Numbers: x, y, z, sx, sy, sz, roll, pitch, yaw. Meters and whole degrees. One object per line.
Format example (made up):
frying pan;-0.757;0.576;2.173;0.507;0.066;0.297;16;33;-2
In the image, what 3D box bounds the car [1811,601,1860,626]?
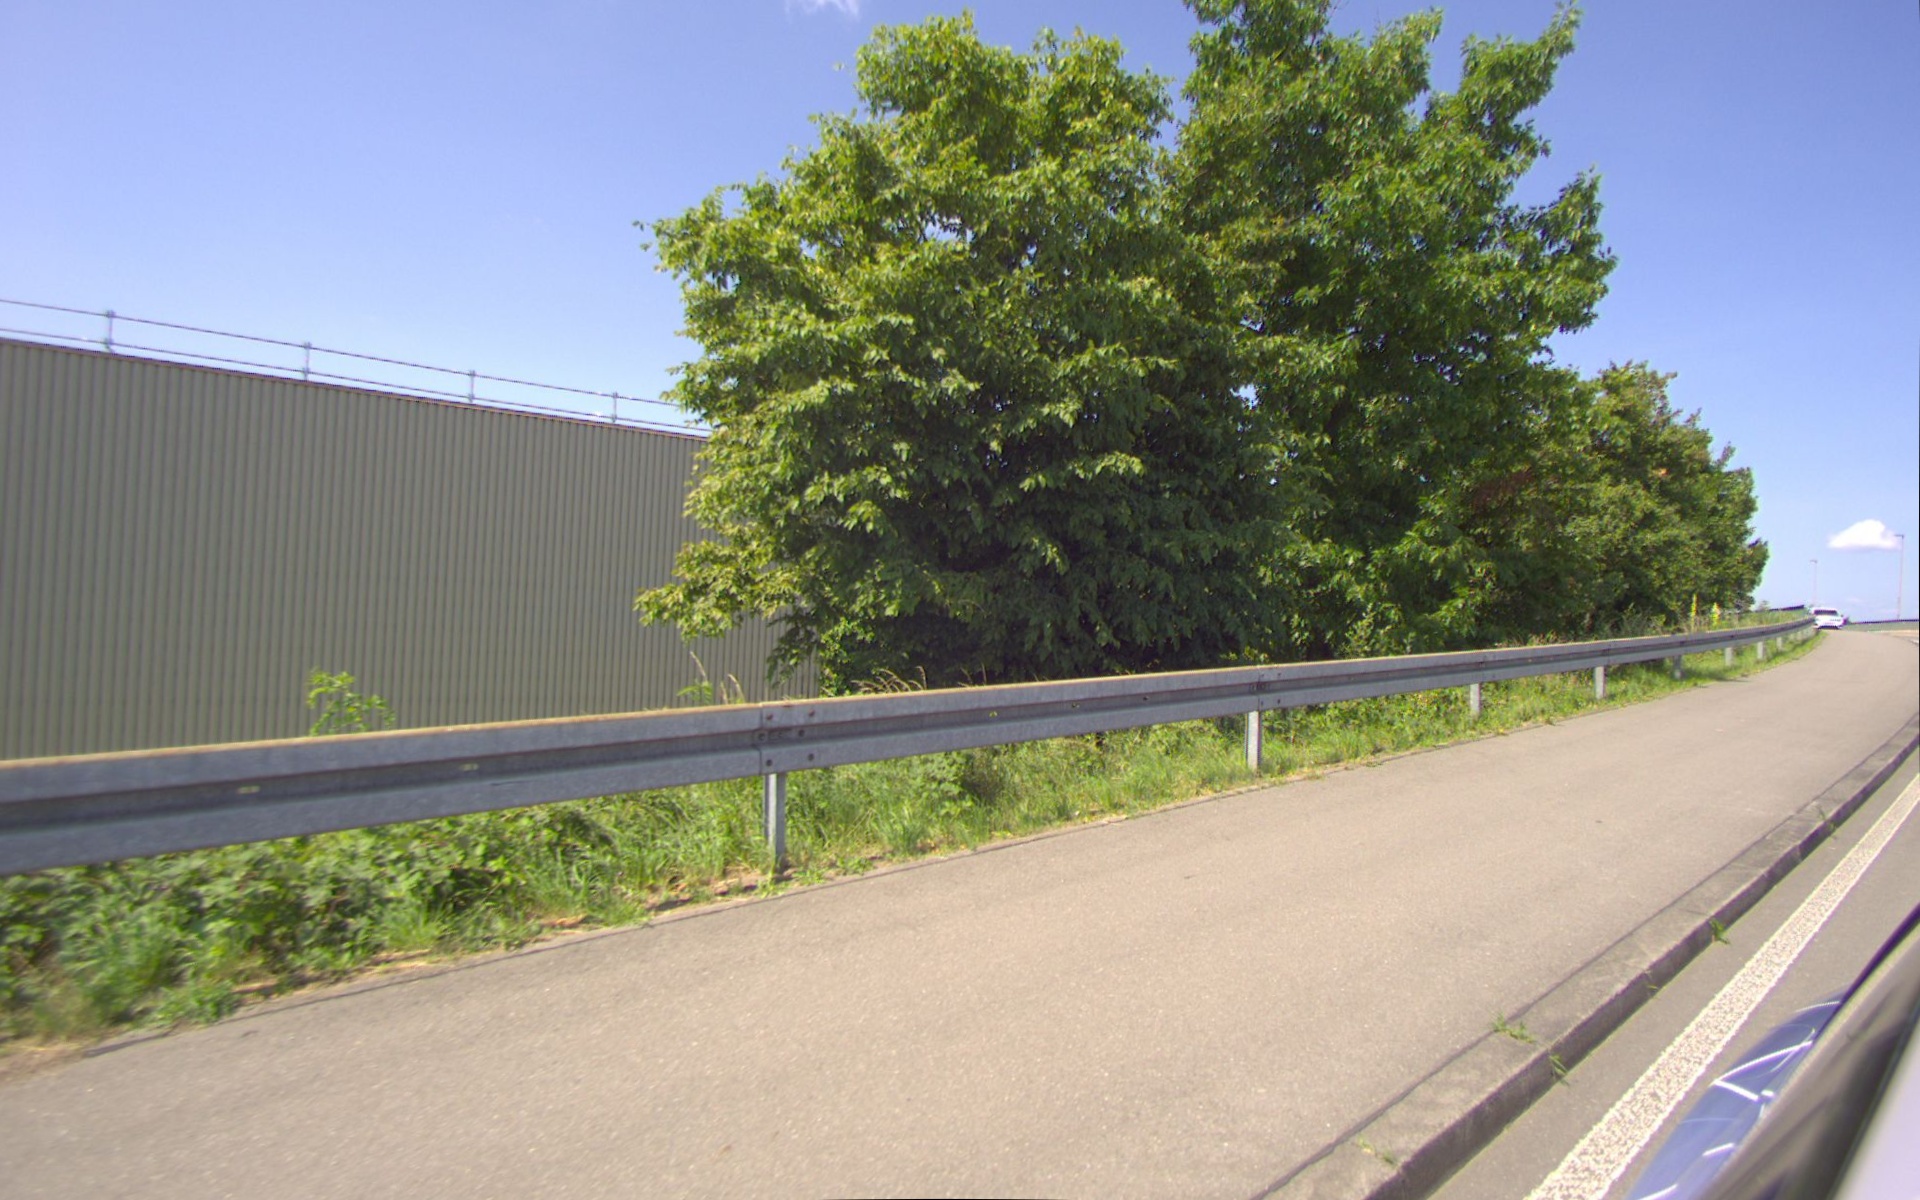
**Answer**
car;65.771;1.030;76.066;2.078;1.784;4.233;-1;-2;32
